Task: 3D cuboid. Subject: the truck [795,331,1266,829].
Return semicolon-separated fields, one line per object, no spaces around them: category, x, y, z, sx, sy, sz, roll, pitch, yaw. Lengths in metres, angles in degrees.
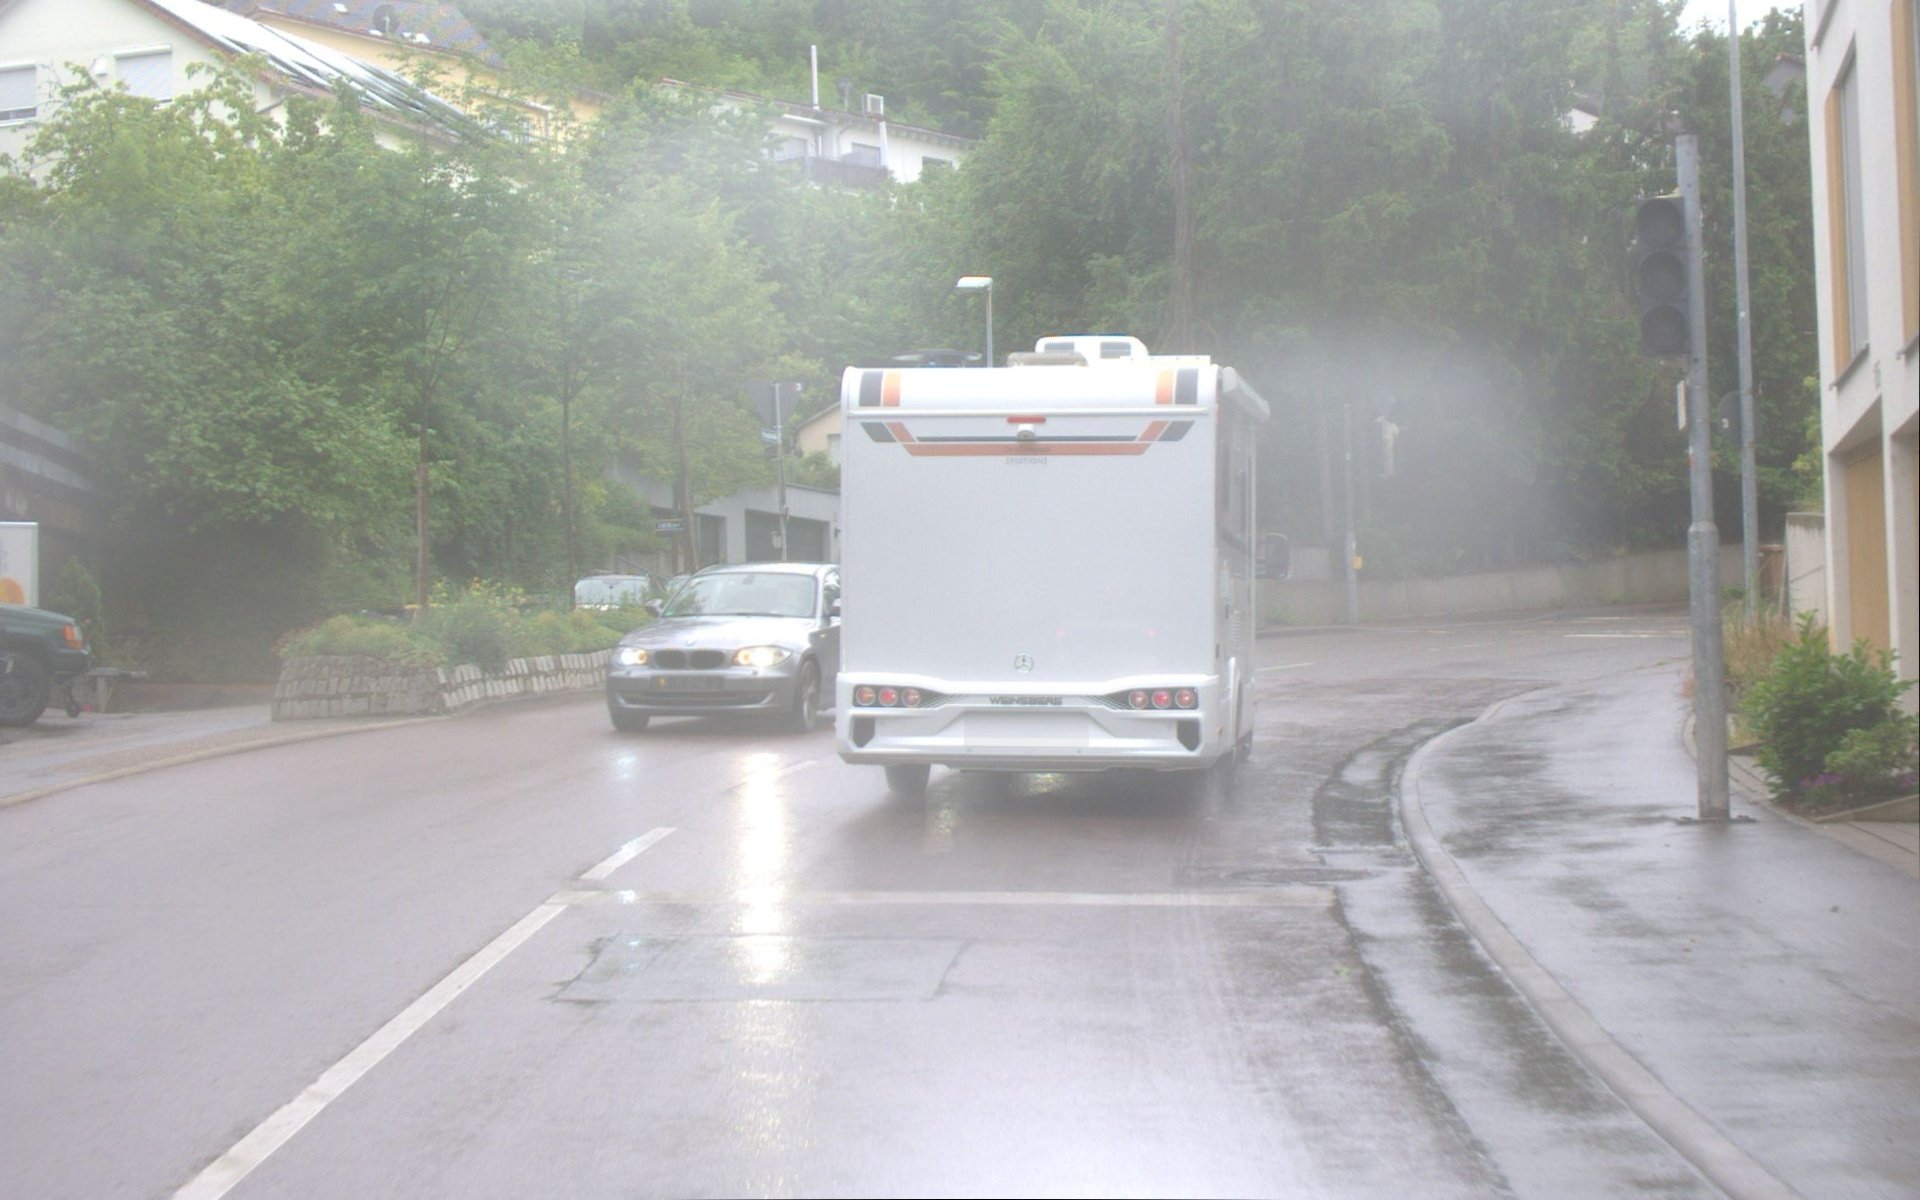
truck;0.663;-0.169;22.604;2.516;2.808;6.200;0;1;7

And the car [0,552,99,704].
car;-10.365;0.265;34.374;3.334;1.480;1.840;0;1;-12

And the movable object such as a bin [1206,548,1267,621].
movable object such as a bin;4.117;-0.234;51.163;0.704;1.084;0.560;0;1;-30

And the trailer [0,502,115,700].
trailer;-11.385;0.051;37.361;3.947;2.095;1.954;-2;0;-23

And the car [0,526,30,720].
car;-10.818;0.180;31.873;4.075;1.768;1.800;1;1;-10

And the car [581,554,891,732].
car;-1.869;0.319;29.934;1.820;1.417;3.898;0;1;10
